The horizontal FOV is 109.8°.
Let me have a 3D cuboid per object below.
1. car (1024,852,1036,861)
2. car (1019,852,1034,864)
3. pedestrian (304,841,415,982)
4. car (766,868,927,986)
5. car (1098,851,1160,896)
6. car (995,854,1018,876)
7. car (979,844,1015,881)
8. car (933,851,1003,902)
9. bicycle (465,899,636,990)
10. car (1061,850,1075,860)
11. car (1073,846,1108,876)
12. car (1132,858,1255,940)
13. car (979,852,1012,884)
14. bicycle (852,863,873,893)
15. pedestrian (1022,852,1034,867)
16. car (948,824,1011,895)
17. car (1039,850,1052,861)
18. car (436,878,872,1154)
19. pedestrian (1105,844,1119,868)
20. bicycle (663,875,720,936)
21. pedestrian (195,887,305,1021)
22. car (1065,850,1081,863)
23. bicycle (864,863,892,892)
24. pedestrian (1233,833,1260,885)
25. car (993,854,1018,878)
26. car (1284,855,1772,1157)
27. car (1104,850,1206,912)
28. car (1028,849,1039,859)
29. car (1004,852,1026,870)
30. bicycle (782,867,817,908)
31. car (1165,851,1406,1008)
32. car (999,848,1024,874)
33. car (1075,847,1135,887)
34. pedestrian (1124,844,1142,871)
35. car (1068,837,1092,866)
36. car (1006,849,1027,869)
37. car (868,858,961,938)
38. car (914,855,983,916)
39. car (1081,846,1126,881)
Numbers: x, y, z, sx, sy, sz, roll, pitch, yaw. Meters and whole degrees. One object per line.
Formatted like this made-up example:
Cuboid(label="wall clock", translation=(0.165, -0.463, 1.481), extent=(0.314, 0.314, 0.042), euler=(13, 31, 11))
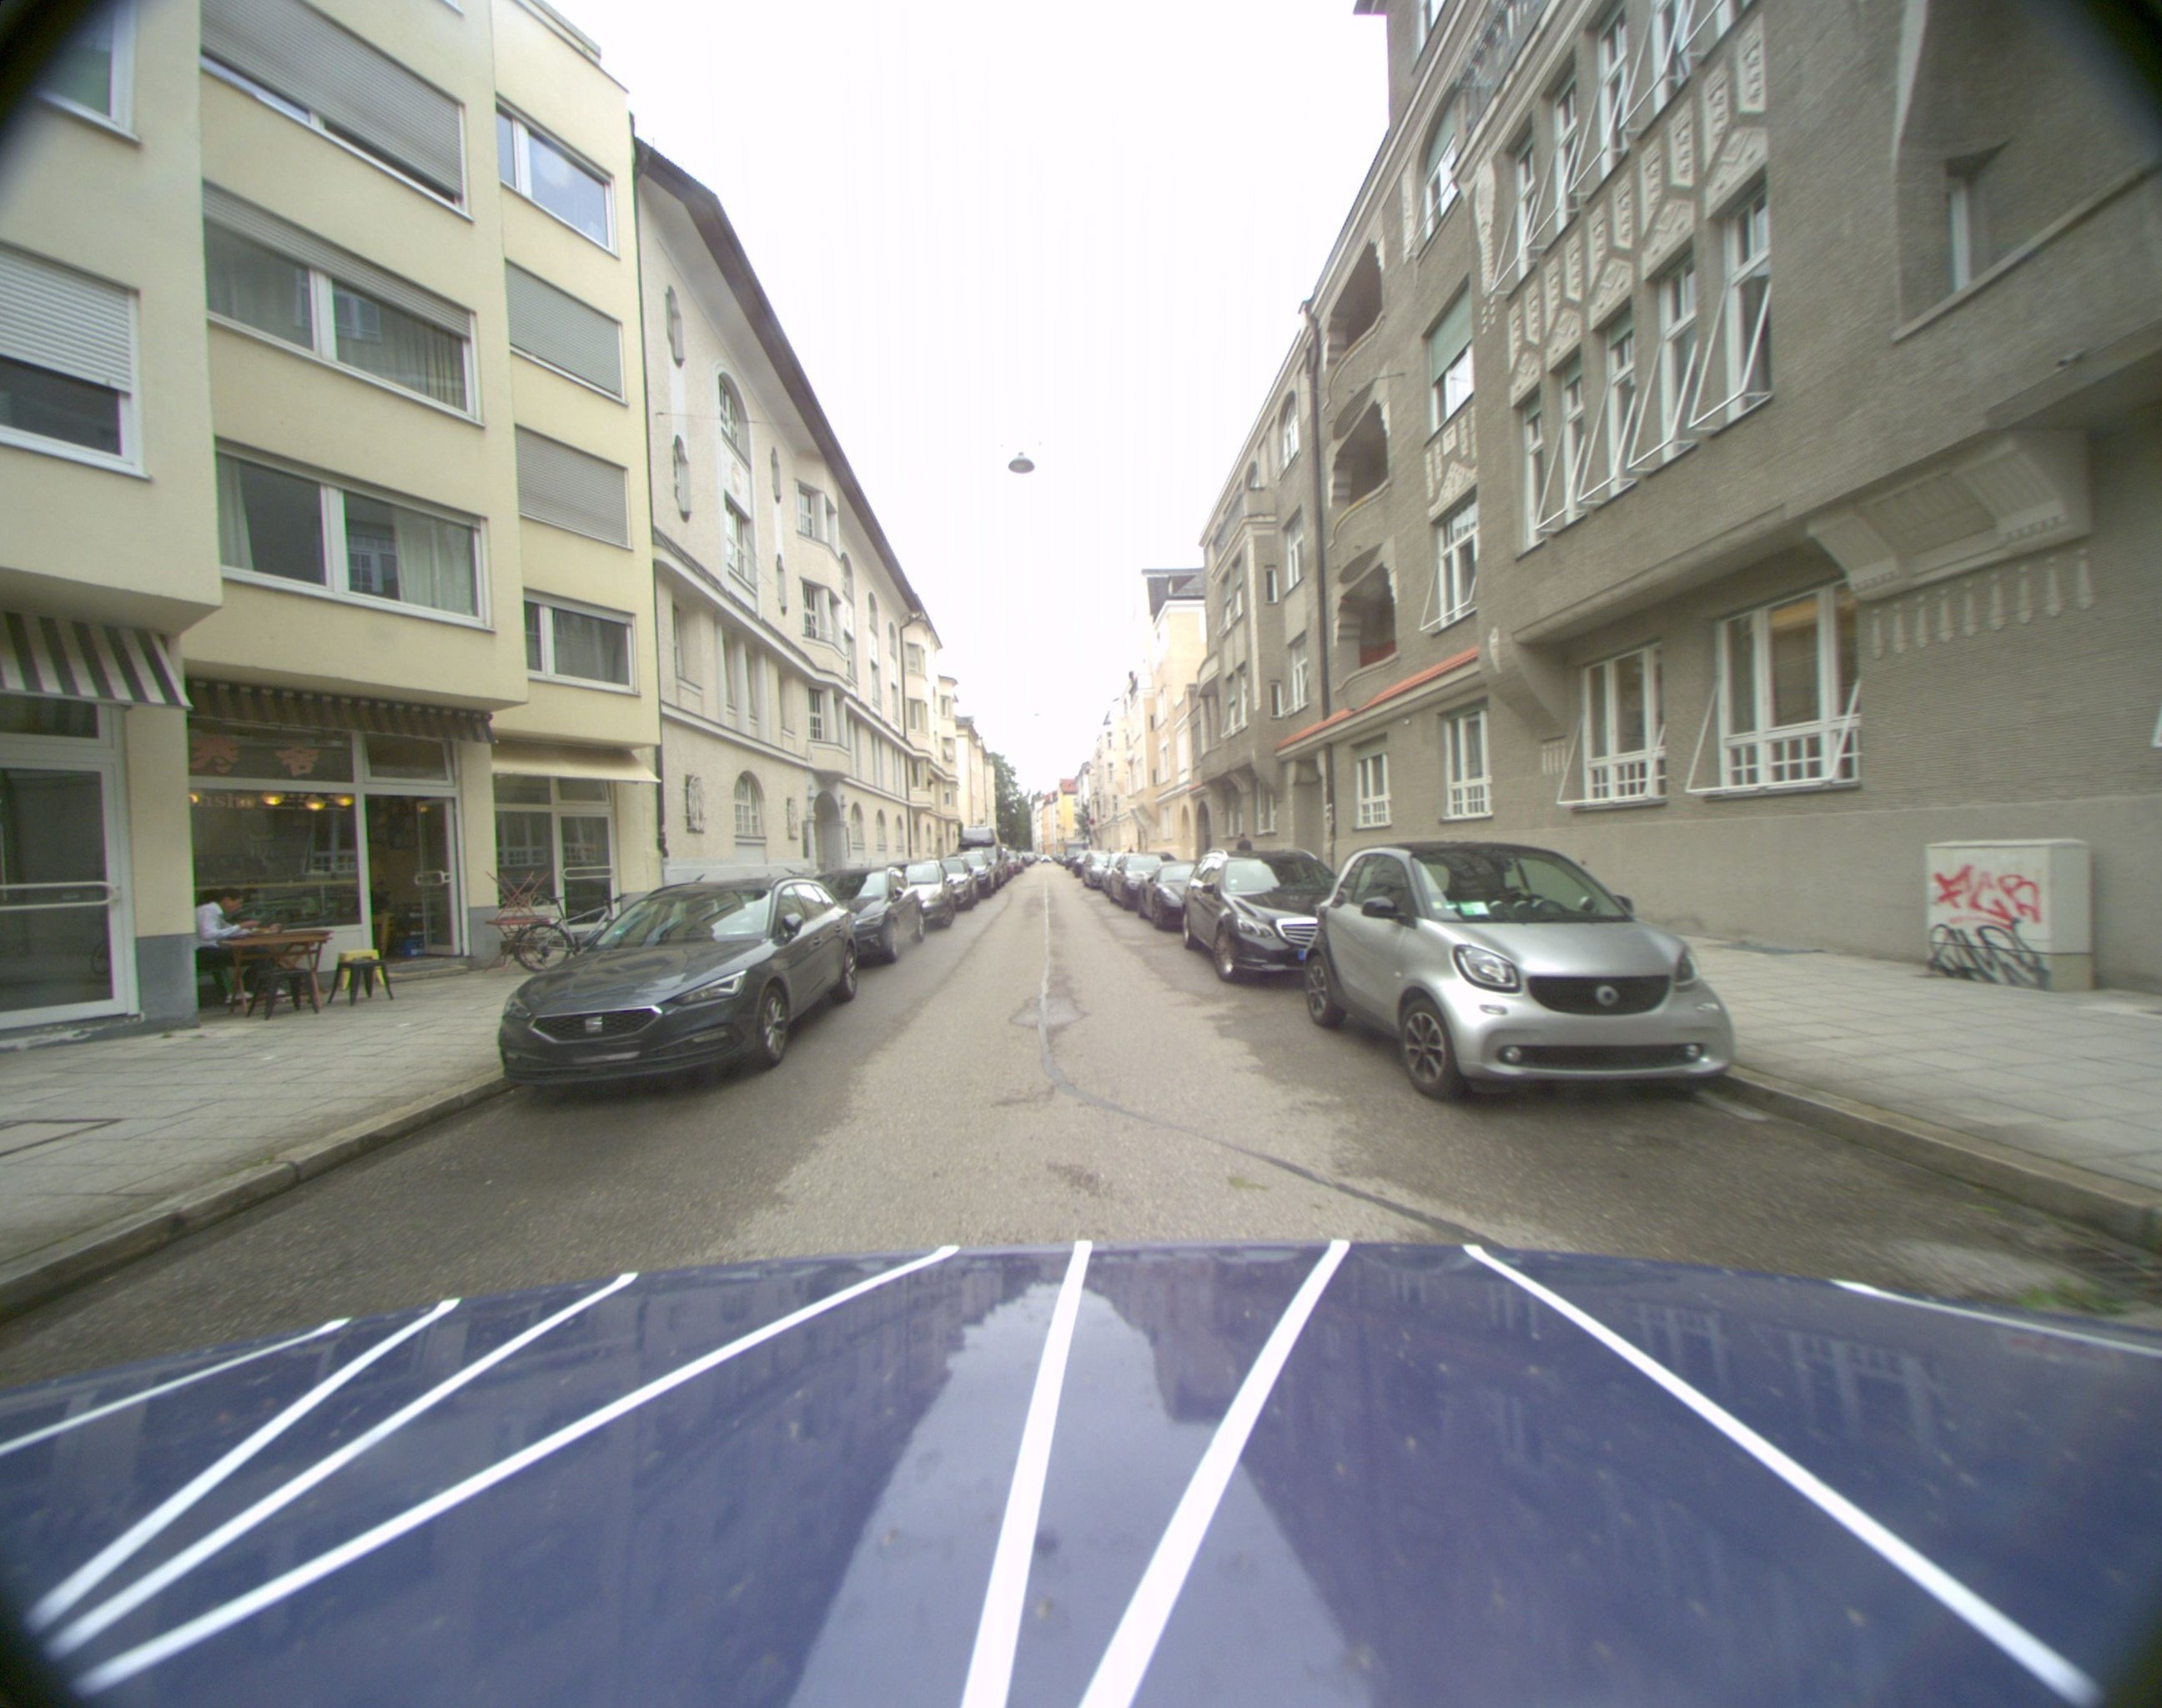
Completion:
Cuboid(label="car", translation=(-7.962, 0.379, 119.124), extent=(1.684, 1.434, 3.644), euler=(-3, 1, -2))
Cuboid(label="car", translation=(-6.890, 0.474, 96.765), extent=(1.684, 1.375, 3.644), euler=(-3, 1, -2))
Cuboid(label="pedestrian", translation=(-9.888, 0.754, 10.426), extent=(1.014, 1.836, 0.743), euler=(0, -1, 25))
Cuboid(label="car", translation=(-3.649, 1.050, 12.511), extent=(1.638, 1.463, 3.853), euler=(-3, 1, -4))
Cuboid(label="car", translation=(1.608, 0.607, 26.801), extent=(1.810, 1.423, 4.438), euler=(-1, 0, -1))
Cuboid(label="car", translation=(-5.478, 0.783, 56.489), extent=(1.497, 1.463, 3.674), euler=(-4, 1, -4))
Cuboid(label="car", translation=(-5.024, 0.477, 45.821), extent=(1.800, 2.027, 4.070), euler=(-3, 1, -2))
Cuboid(label="car", translation=(-4.210, 0.783, 28.970), extent=(1.999, 1.679, 4.673), euler=(-4, 0, -2))
Cuboid(label="bicycle", translation=(-7.412, 1.213, 10.705), extent=(0.751, 1.026, 1.803), euler=(1, 1, 33))
Cuboid(label="car", translation=(-1.872, 0.148, 106.748), extent=(1.684, 1.390, 3.703), euler=(-3, 1, -4))
Cuboid(label="car", translation=(0.564, 0.397, 47.762), extent=(1.956, 1.649, 4.616), euler=(-3, 1, -1))
Cuboid(label="car", translation=(2.135, 0.809, 15.524), extent=(1.760, 1.323, 4.095), euler=(-2, 1, -2))
Cuboid(label="car", translation=(-4.628, 0.737, 41.437), extent=(1.546, 1.616, 2.814), euler=(-3, 1, -3))
Cuboid(label="bicycle", translation=(-8.908, 0.958, 30.958), extent=(0.483, 1.144, 1.787), euler=(0, 1, -5))
Cuboid(label="pedestrian", translation=(-5.567, 0.566, 80.209), extent=(1.013, 1.514, 0.716), euler=(-2, 1, 22))
Cuboid(label="car", translation=(-4.686, 0.156, 36.056), extent=(2.261, 2.943, 6.129), euler=(-4, 2, -3))
Cuboid(label="car", translation=(-6.393, 0.211, 137.219), extent=(2.000, 1.788, 3.997), euler=(-3, 1, -6))
Cuboid(label="car", translation=(-3.304, 1.089, 7.100), extent=(1.697, 1.463, 4.608), euler=(-3, 1, -4))
Cuboid(label="pedestrian", translation=(2.293, 0.150, 56.018), extent=(0.837, 1.779, 0.740), euler=(-3, 1, -3))
Cuboid(label="bicycle", translation=(-8.329, 1.063, 16.316), extent=(0.565, 1.186, 1.676), euler=(0, 0, -7))
Cuboid(label="pedestrian", translation=(-9.337, 1.090, 8.551), extent=(0.531, 1.390, 0.674), euler=(-2, 1, 30))
Cuboid(label="car", translation=(-0.936, 0.274, 90.205), extent=(1.684, 1.390, 3.704), euler=(-3, 1, -2))
Cuboid(label="bicycle", translation=(-8.934, 1.019, 33.503), extent=(0.482, 1.144, 1.789), euler=(-3, 1, 6))
Cuboid(label="pedestrian", translation=(5.967, 0.174, 27.455), extent=(0.718, 1.807, 0.730), euler=(-3, 1, -3))
Cuboid(label="car", translation=(-5.168, 0.810, 52.427), extent=(1.497, 1.463, 3.502), euler=(-4, 1, -4))
Cuboid(label="car", translation=(2.732, 0.795, 5.419), extent=(1.708, 1.506, 2.910), euler=(-1, 1, -2))
Cuboid(label="car", translation=(1.902, 0.657, 21.127), extent=(1.999, 1.440, 4.776), euler=(-2, 1, -4))
Cuboid(label="car", translation=(-8.257, 0.038, 132.894), extent=(1.684, 1.671, 3.644), euler=(-3, 1, -2))
Cuboid(label="car", translation=(-5.793, 0.627, 67.186), extent=(1.731, 1.458, 3.736), euler=(-3, 1, -2))
Cuboid(label="bicycle", translation=(-8.608, 1.014, 23.315), extent=(0.483, 1.144, 1.787), euler=(-3, 1, -5))
Cuboid(label="car", translation=(2.344, 0.760, 10.074), extent=(1.760, 1.506, 4.706), euler=(-2, 1, -2))
Cuboid(label="car", translation=(-5.681, 0.573, 62.470), extent=(1.881, 1.925, 4.661), euler=(-4, 1, -4))
Cuboid(label="car", translation=(0.906, 0.504, 31.959), extent=(1.842, 1.504, 4.605), euler=(-2, 1, -6))
Cuboid(label="pedestrian", translation=(3.453, 0.223, 50.156), extent=(0.995, 1.719, 0.939), euler=(-3, 1, -3))
Cuboid(label="car", translation=(-0.116, -0.240, 71.312), extent=(2.104, 2.606, 5.676), euler=(-1, 1, -2))
Cuboid(label="car", translation=(-6.042, 0.427, 71.545), extent=(1.684, 1.767, 3.455), euler=(-3, 1, -2))
Cuboid(label="car", translation=(-3.762, 0.924, 17.708), extent=(1.639, 1.528, 3.852), euler=(-3, 1, -6))
Cuboid(label="car", translation=(-3.927, 0.877, 23.048), extent=(1.639, 1.583, 3.966), euler=(-3, 1, -5))
Cuboid(label="car", translation=(1.062, 0.448, 38.154), extent=(1.808, 1.563, 3.812), euler=(-3, 1, -4))
